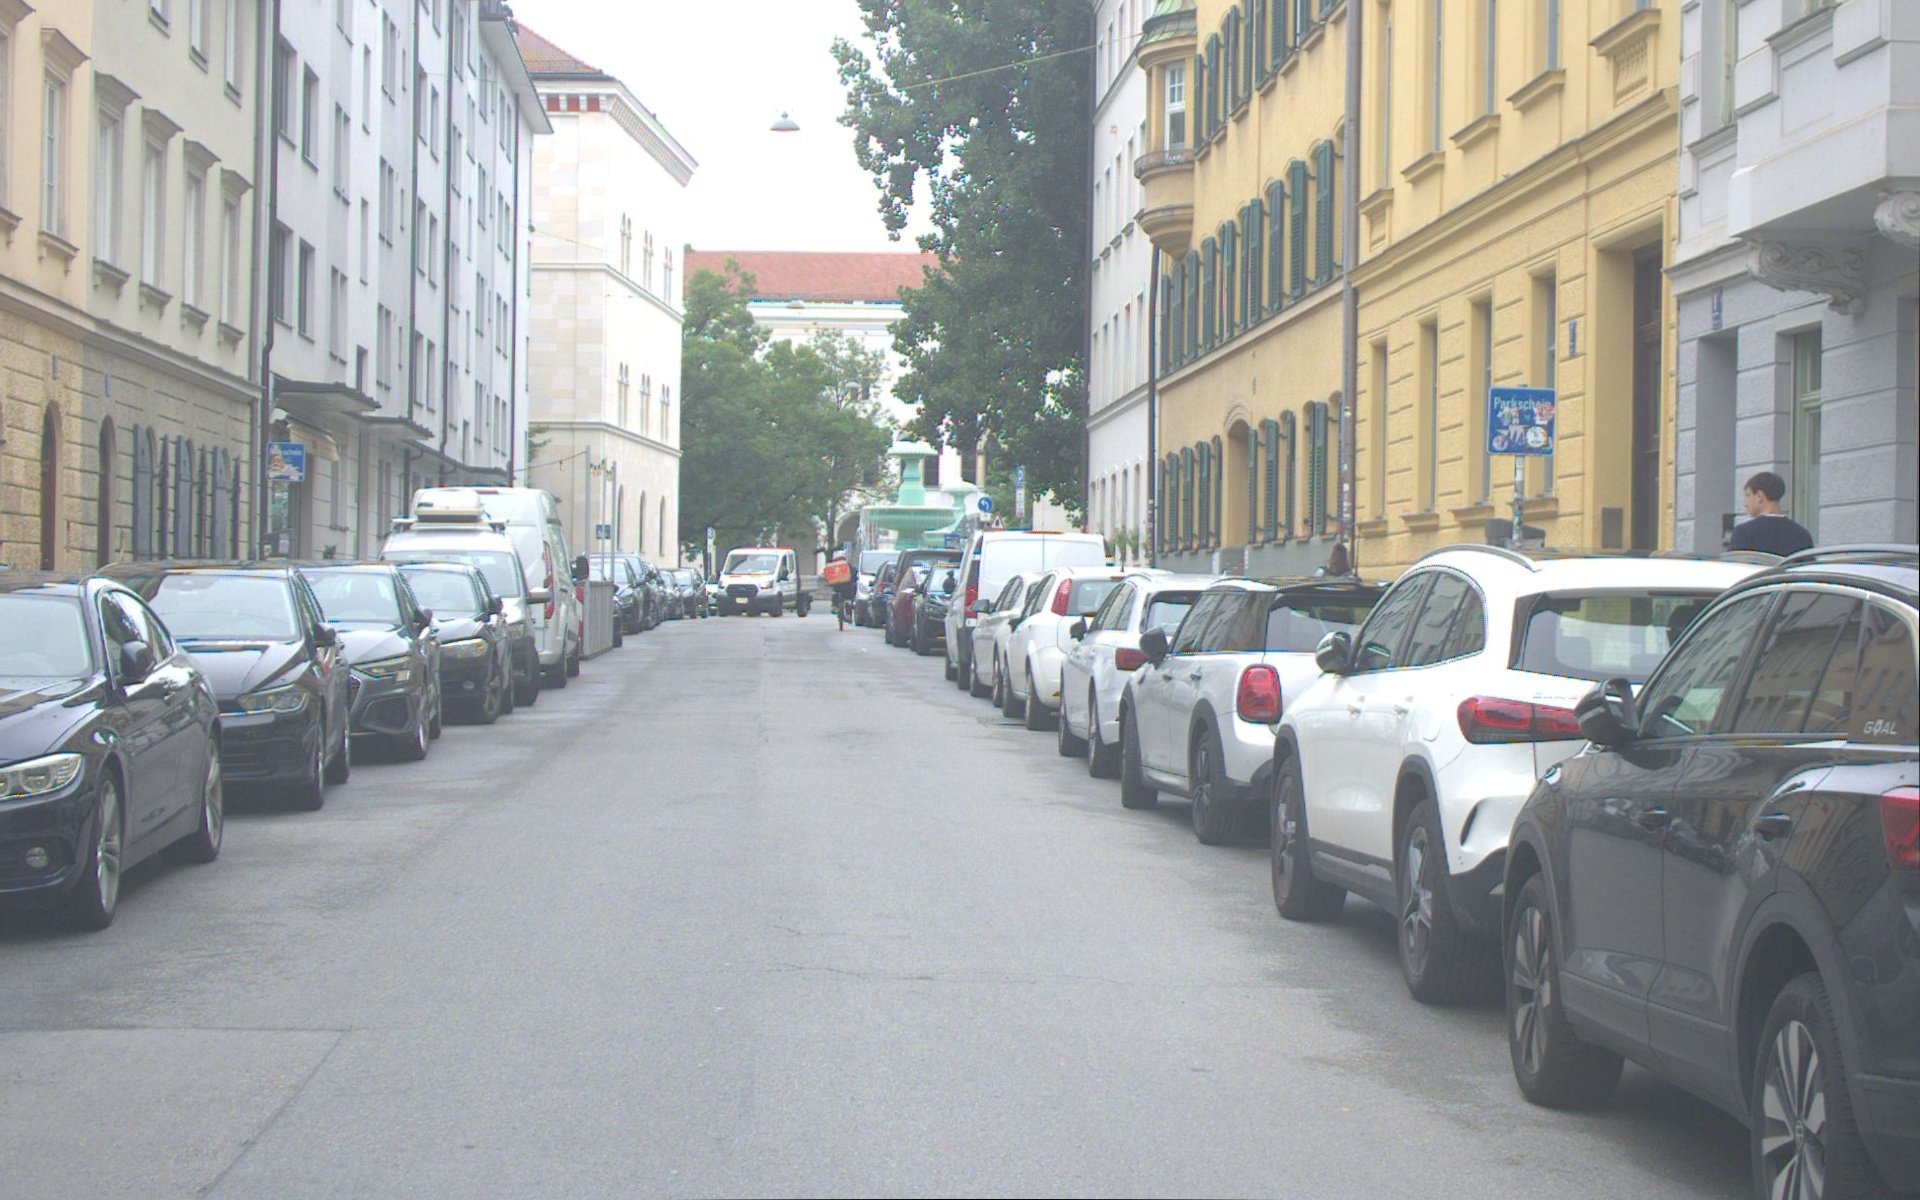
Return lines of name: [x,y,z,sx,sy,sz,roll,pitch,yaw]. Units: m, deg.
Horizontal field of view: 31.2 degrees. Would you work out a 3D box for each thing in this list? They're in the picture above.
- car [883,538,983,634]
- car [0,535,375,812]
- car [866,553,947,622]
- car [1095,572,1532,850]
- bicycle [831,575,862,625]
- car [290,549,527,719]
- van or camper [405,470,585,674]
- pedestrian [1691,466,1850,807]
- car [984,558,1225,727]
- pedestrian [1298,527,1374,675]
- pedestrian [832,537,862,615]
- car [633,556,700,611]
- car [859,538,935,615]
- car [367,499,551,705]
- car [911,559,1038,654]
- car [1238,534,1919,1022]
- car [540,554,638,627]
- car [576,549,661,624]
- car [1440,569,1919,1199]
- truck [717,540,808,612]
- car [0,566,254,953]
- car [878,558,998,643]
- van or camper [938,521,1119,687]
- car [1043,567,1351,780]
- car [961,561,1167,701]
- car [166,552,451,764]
car: [-0.569,-0.280,68.770,1.811,1.791,4.247,2,0,-2]
car: [-4.619,0.385,20.955,1.754,1.491,4.201,1,0,-6]
car: [-1.310,-0.310,82.666,1.811,1.609,4.156,1,0,-2]
car: [1.912,0.559,19.857,1.708,1.400,4.208,1,0,-5]
bicycle: [-2.529,0.007,76.564,0.675,1.091,1.760,0,-1,-2]
car: [-4.918,0.271,31.099,1.754,1.404,4.104,1,0,-4]
van or camper: [-5.518,-0.338,41.322,1.754,2.273,5.274,1,0,-4]
pedestrian: [4.825,0.216,20.501,0.669,1.974,0.708,-3,-1,-2]
car: [1.283,0.351,32.130,1.708,1.449,4.097,1,0,-5]
pedestrian: [4.074,0.009,37.297,0.660,1.566,0.642,-2,-1,-3]
pedestrian: [-2.518,-0.530,76.586,0.642,1.708,0.843,0,-1,-2]
car: [-8.764,-0.500,103.000,1.706,1.604,3.863,0,0,-1]
car: [-1.651,-0.600,88.532,1.851,1.913,4.769,1,0,-2]
car: [-5.201,-0.003,36.092,1.754,1.988,4.626,1,0,-7]
car: [0.199,0.091,57.007,1.811,1.460,4.247,2,0,-3]
car: [2.263,0.569,13.534,1.743,1.578,4.467,1,0,-3]
car: [-7.501,-0.201,69.801,1.817,1.439,3.819,0,0,-4]
car: [-7.472,-0.307,75.399,1.706,1.604,3.863,0,0,-4]
car: [2.456,0.698,8.394,1.754,1.516,4.275,1,0,-3]
truck: [-6.394,-0.741,111.979,2.121,2.240,6.184,0,0,5]
car: [-4.287,0.554,14.832,1.798,1.335,4.686,1,1,-4]
car: [-0.436,-0.010,61.769,1.811,1.420,4.247,2,0,-4]
van or camper: [0.773,0.017,41.911,1.833,1.865,5.079,1,1,-3]
car: [1.651,0.474,25.500,1.708,1.404,4.815,1,0,-3]
car: [1.052,0.297,36.832,1.708,1.388,4.207,1,0,-5]
car: [-4.831,0.372,25.970,1.816,1.436,4.132,0,1,-7]
